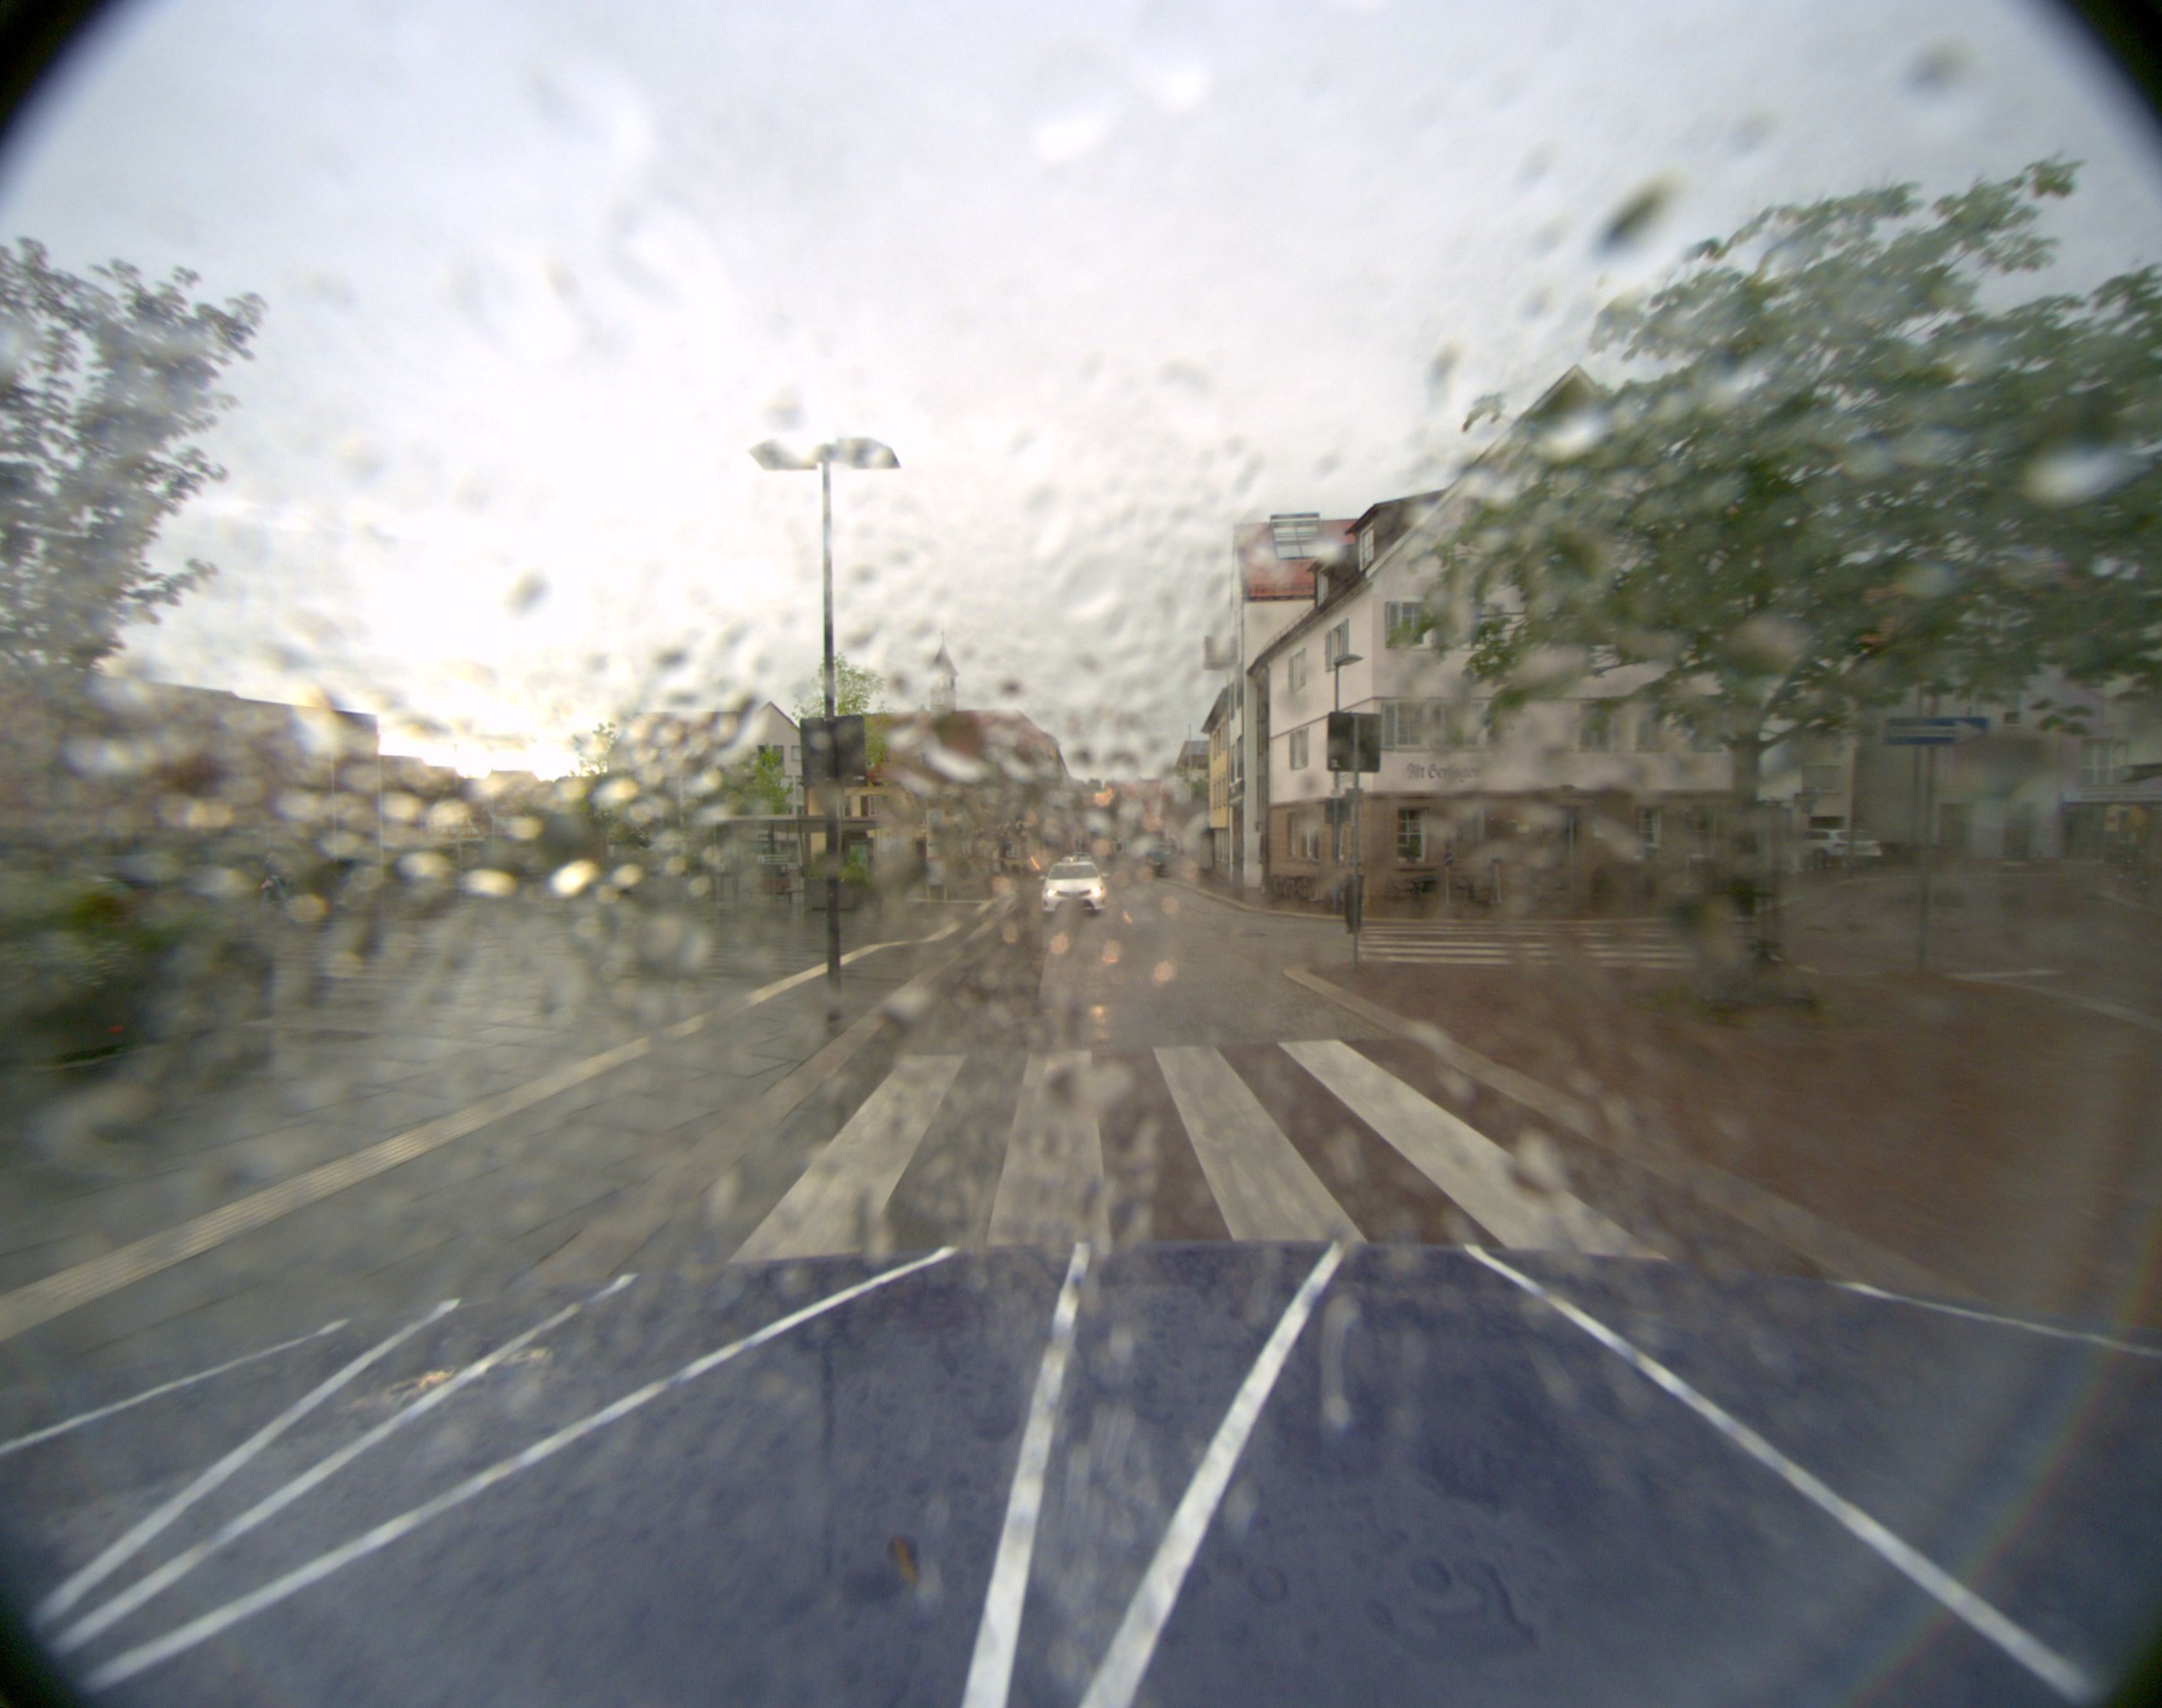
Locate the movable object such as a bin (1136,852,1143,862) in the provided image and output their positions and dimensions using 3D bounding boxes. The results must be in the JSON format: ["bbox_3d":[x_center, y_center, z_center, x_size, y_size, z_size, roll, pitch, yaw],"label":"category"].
[{"bbox_3d":[6.465,0.337,84.126,0.697,1.071,0.645,-3,1,4],"label":"movable object such as a bin"}]

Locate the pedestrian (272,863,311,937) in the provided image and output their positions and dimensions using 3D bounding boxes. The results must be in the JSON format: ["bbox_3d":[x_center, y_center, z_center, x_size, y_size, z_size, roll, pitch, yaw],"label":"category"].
[{"bbox_3d":[-26.400,1.531,25.411,0.735,2.425,0.570,1,2,16],"label":"pedestrian"}]

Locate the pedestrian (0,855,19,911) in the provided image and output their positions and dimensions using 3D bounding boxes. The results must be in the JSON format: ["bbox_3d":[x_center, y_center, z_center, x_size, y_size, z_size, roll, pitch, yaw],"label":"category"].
[{"bbox_3d":[-45.273,1.207,31.689,0.902,2.295,0.800,1,2,12],"label":"pedestrian"}]

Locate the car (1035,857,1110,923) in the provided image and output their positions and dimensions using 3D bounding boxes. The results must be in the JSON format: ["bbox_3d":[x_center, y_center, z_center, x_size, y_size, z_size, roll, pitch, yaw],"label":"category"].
[{"bbox_3d":[-0.132,0.950,22.190,1.867,1.577,4.614,-1,1,3],"label":"car"}]

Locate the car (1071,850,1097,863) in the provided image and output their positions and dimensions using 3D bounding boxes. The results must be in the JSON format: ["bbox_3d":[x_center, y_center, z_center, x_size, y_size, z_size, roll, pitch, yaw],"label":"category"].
[{"bbox_3d":[0.354,0.248,87.714,1.865,1.452,4.005,1,1,19],"label":"car"}]

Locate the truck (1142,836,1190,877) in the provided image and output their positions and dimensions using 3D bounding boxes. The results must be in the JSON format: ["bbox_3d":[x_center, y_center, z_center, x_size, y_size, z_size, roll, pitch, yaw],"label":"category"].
[{"bbox_3d":[5.709,0.242,52.070,2.406,2.579,6.483,-1,-1,-2],"label":"truck"}]

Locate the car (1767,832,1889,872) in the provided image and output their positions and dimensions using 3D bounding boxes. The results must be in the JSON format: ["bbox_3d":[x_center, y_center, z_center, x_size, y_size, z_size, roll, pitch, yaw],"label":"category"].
[{"bbox_3d":[32.217,-0.120,32.946,1.828,1.612,3.891,1,1,9],"label":"car"}]

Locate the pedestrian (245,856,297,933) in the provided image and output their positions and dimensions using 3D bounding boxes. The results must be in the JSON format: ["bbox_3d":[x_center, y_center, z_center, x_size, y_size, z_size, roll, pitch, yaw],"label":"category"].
[{"bbox_3d":[-26.180,1.287,24.556,0.942,2.425,0.778,1,2,19],"label":"pedestrian"}]

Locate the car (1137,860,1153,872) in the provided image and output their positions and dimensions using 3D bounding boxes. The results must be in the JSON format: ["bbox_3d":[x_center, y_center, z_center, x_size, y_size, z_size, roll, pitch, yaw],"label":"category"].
[{"bbox_3d":[8.317,1.542,99.033,1.806,1.434,4.002,-1,1,8],"label":"car"}]

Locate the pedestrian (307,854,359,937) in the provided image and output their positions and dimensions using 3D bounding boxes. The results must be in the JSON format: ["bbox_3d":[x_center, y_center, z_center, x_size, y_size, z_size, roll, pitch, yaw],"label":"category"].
[{"bbox_3d":[-24.747,1.350,25.150,1.054,2.669,0.833,1,2,21],"label":"pedestrian"}]
